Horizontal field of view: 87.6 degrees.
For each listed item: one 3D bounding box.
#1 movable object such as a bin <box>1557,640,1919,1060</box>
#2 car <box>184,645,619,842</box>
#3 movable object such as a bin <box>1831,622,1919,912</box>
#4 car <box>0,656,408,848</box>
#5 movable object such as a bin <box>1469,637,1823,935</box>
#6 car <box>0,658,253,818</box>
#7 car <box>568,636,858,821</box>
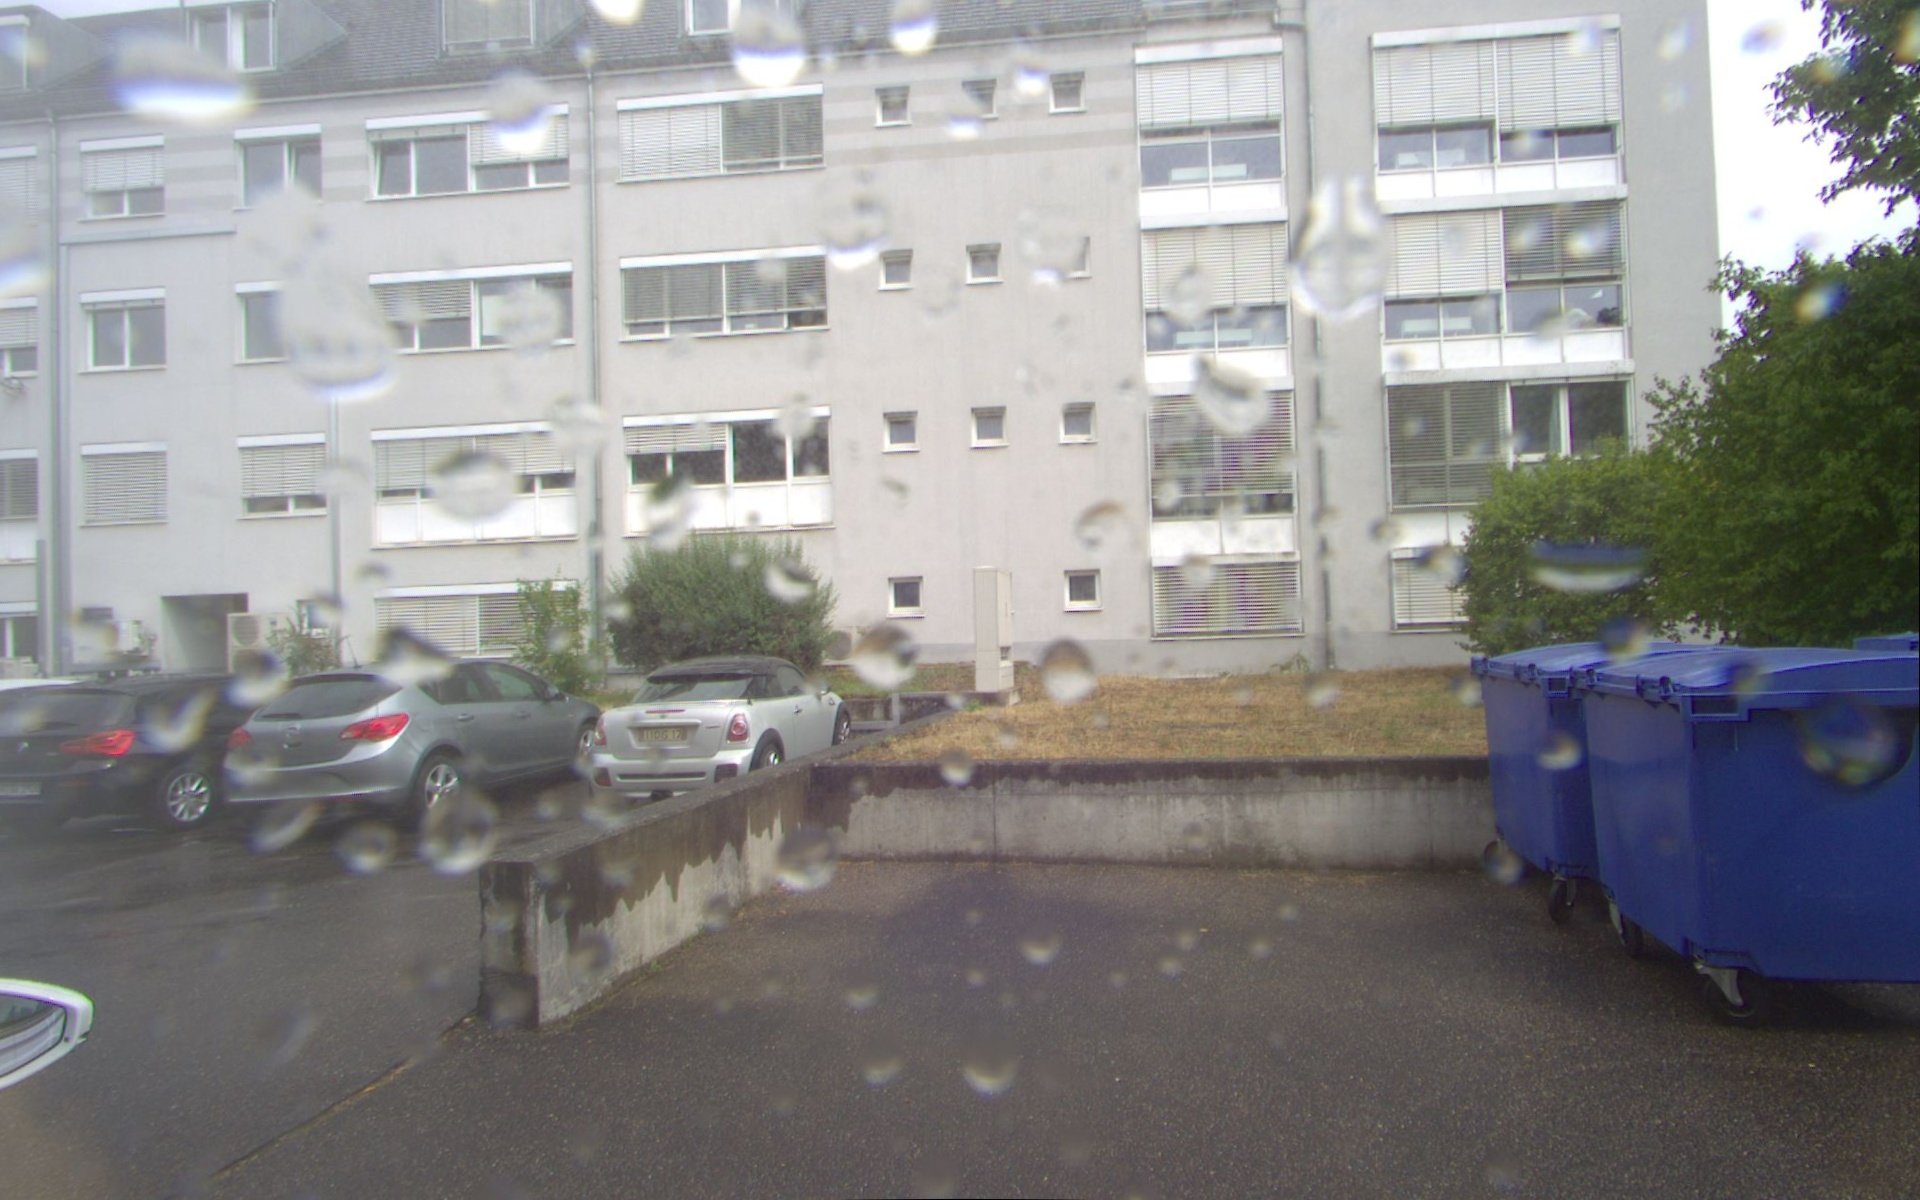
[{"bbox_3d":[3.206,0.845,3.927,1.063,1.321,1.375,-2,-1,13],"label":"movable object such as a bin"},{"bbox_3d":[-5.253,1.268,10.139,1.772,1.464,4.000,-2,-1,8],"label":"car"},{"bbox_3d":[5.051,0.767,4.513,1.175,1.353,1.296,-2,-1,13],"label":"movable object such as a bin"},{"bbox_3d":[-7.864,1.394,10.386,1.739,1.421,4.000,-1,-1,6],"label":"car"},{"bbox_3d":[3.425,0.875,5.178,1.086,1.321,1.189,-2,-1,12],"label":"movable object such as a bin"},{"bbox_3d":[-10.227,1.472,11.066,1.739,1.477,4.001,-2,-2,5],"label":"car"},{"bbox_3d":[-2.290,1.163,10.220,1.656,1.445,3.426,-2,-1,8],"label":"car"}]
